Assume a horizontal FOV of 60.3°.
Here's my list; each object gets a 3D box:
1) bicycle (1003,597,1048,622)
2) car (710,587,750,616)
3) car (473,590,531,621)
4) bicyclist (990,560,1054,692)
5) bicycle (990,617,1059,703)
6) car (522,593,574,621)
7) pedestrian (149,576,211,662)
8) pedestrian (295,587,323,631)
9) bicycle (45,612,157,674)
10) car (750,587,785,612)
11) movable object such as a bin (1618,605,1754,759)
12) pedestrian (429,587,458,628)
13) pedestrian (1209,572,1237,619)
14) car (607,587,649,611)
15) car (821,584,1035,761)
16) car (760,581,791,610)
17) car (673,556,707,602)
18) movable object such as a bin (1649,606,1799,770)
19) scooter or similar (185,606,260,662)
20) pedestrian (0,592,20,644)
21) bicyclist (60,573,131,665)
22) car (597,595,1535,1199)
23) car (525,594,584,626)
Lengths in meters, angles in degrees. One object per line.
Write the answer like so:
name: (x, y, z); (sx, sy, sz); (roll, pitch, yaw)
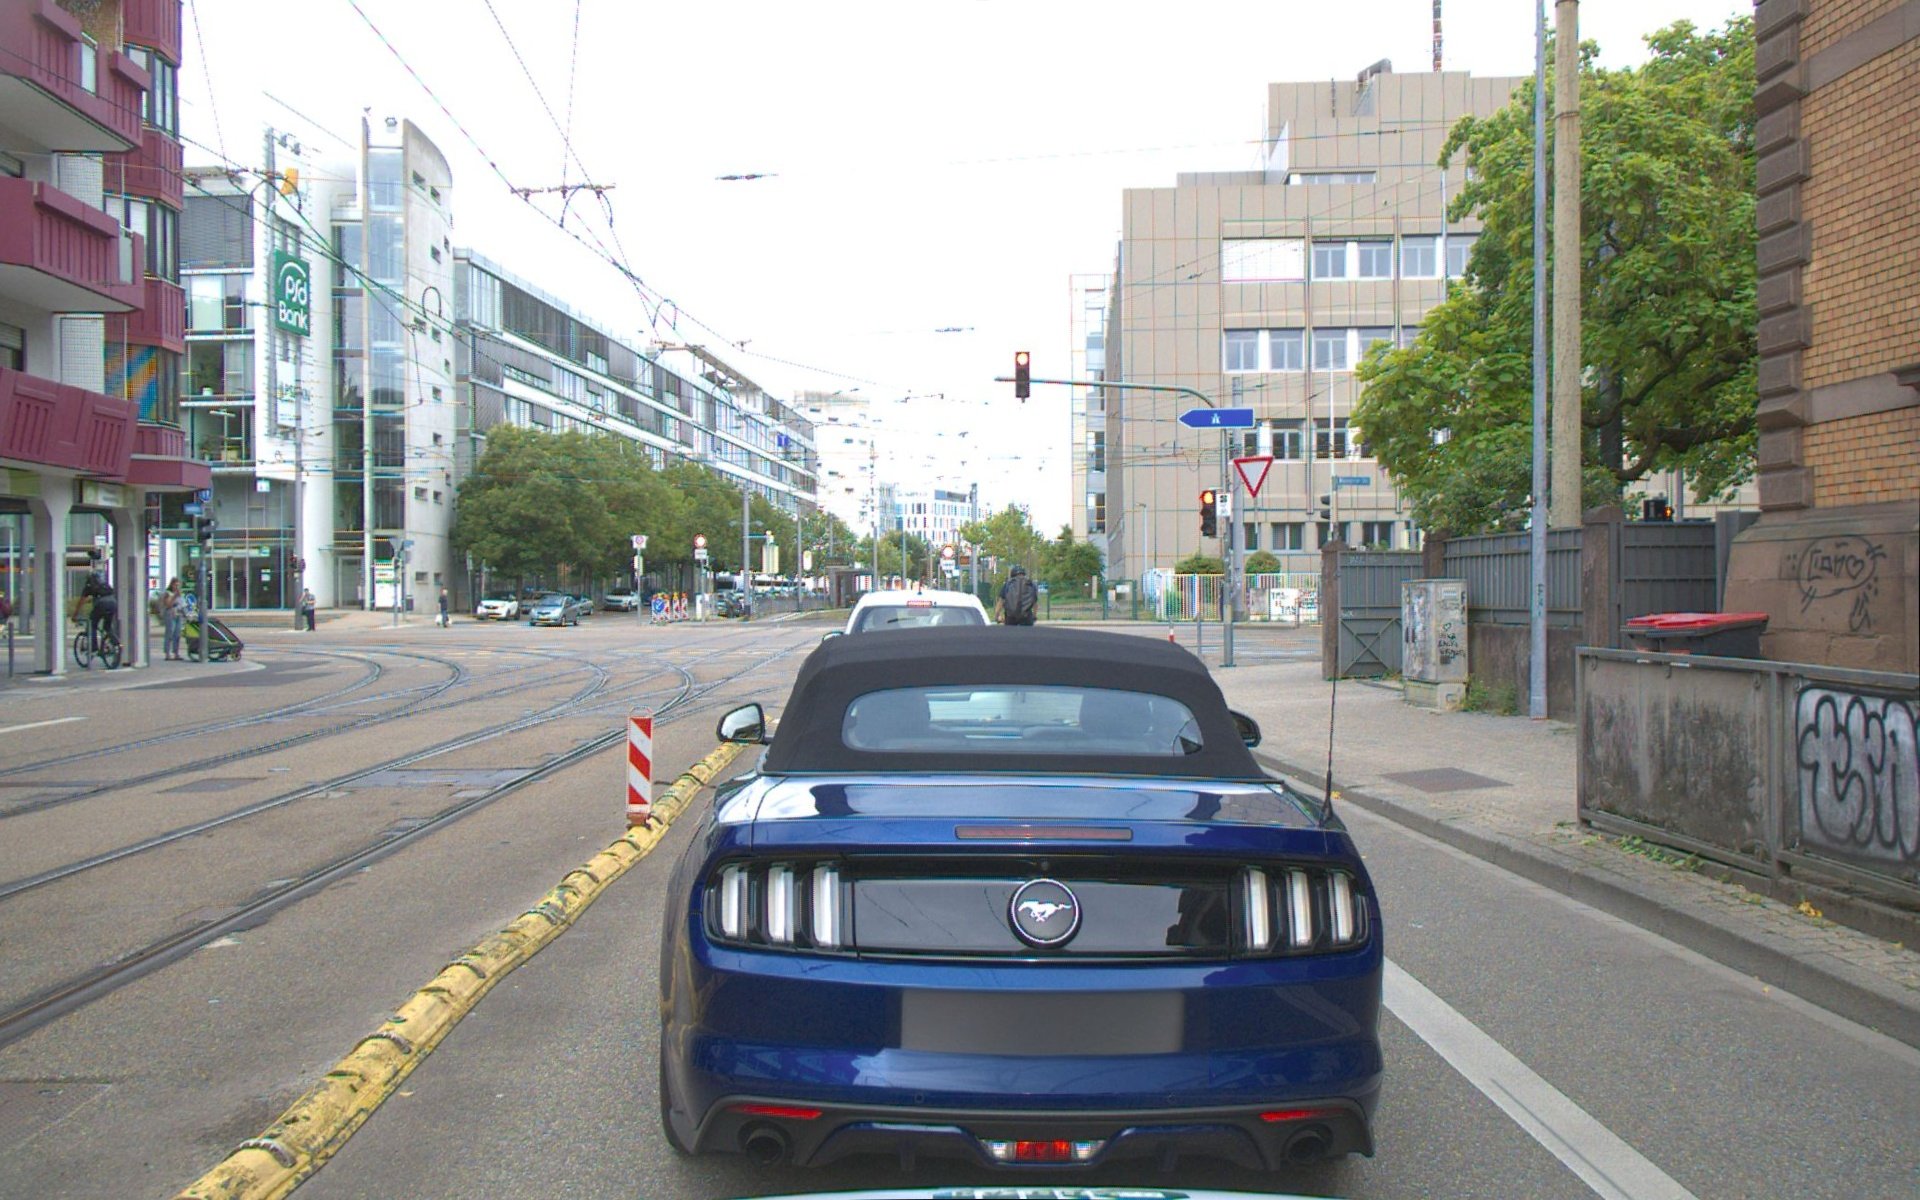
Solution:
bicycle: (2.883, 0.426, 72.755); (0.629, 0.998, 2.125); (-1, -2, -42)
car: (-13.468, 0.068, 97.039); (1.841, 1.657, 4.086); (-1, 0, -1)
car: (-25.040, 0.272, 90.601); (1.791, 1.584, 4.218); (1, 1, 3)
bicyclist: (0.870, 0.359, 23.459); (0.780, 1.816, 1.232); (-1, 0, -3)
bicycle: (0.884, 0.822, 23.288); (0.784, 1.105, 2.130); (-1, 0, -3)
car: (-24.319, 0.385, 97.774); (1.791, 1.584, 4.218); (1, 1, 3)
pedestrian: (-16.437, 0.396, 34.867); (0.929, 1.774, 0.811); (0, 0, -4)
pedestrian: (-28.259, 0.381, 71.777); (0.816, 1.897, 0.766); (-1, 0, 11)
bicycle: (-16.029, 0.786, 30.851); (2.310, 1.105, 0.763); (0, 0, 31)
car: (-12.848, -0.049, 110.584); (1.830, 1.634, 4.212); (-1, 0, -1)
movable object such as a bin: (5.541, 0.610, 12.642); (0.638, 1.101, 0.677); (-4, 0, -6)
pedestrian: (-23.997, 0.349, 76.877); (0.968, 1.888, 0.902); (-1, 0, 6)
pedestrian: (10.915, -0.180, 68.588); (1.063, 1.931, 0.902); (-1, 0, 4)
car: (-23.228, -0.058, 115.987); (1.945, 1.584, 4.513); (1, 1, 0)
car: (-0.439, 0.597, 16.126); (1.799, 1.464, 4.183); (-1, 0, -5)
car: (-12.908, -0.319, 115.750); (1.749, 2.022, 4.120); (-1, 0, -1)
car: (-22.024, -1.719, 135.022); (1.945, 3.700, 4.513); (1, 0, 0)
movable object such as a bin: (5.493, 0.615, 11.925); (0.650, 1.101, 0.700); (-4, 0, -6)
scooter or similar: (-15.569, 0.711, 34.954); (1.172, 1.148, 0.946); (0, 0, -3)
pedestrian: (-31.669, 0.578, 54.480); (0.915, 1.700, 0.766); (-1, 0, 11)
bicyclist: (-16.138, 0.351, 30.886); (1.033, 1.680, 0.750); (0, 0, 31)
car: (0.194, 0.720, 5.405); (1.838, 1.428, 4.282); (1, 0, -1)
car: (-20.227, 0.475, 82.618); (1.633, 1.533, 4.236); (1, 1, 3)
